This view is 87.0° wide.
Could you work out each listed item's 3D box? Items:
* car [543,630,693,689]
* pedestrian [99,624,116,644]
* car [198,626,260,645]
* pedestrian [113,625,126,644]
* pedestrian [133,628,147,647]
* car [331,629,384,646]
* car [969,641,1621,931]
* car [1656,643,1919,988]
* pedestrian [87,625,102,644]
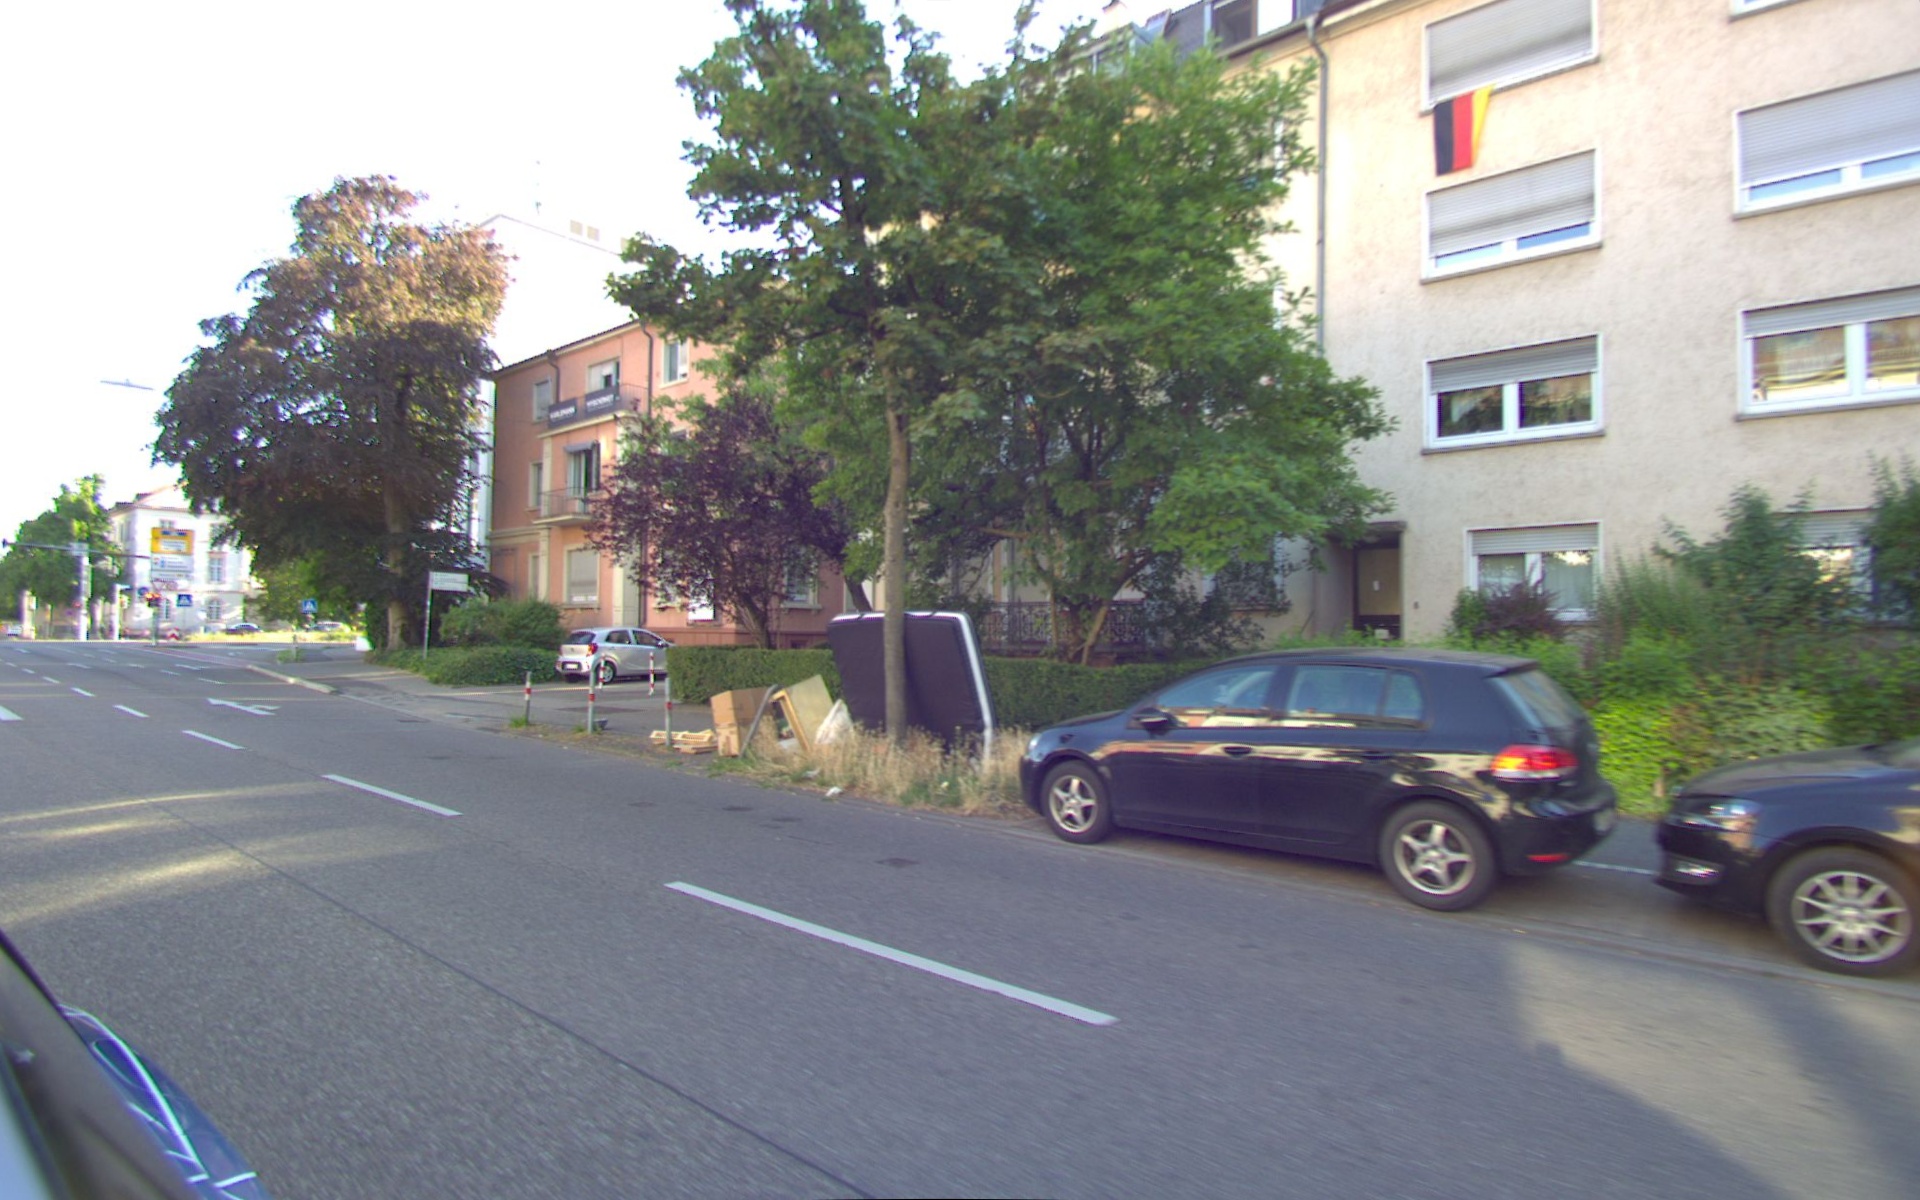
[{"bbox_3d":[-9.266,1.587,27.586,1.812,1.497,3.465,-2,-3,37],"label":"car"},{"bbox_3d":[-77.647,3.100,92.198,1.166,1.863,0.812,-1,-3,32],"label":"pedestrian"},{"bbox_3d":[-59.190,2.885,81.963,1.996,1.457,3.602,-2,-3,36],"label":"car"},{"bbox_3d":[-73.752,3.054,88.806,0.887,1.663,0.614,-1,-3,32],"label":"pedestrian"},{"bbox_3d":[-72.826,3.348,89.894,0.880,1.663,0.671,-1,-3,32],"label":"pedestrian"},{"bbox_3d":[-53.689,3.334,90.211,1.996,1.457,3.602,-2,-3,36],"label":"car"},{"bbox_3d":[2.208,1.064,7.400,4.194,1.514,1.732,-2,-3,41],"label":"car"},{"bbox_3d":[5.596,0.960,4.469,3.976,1.514,1.732,-2,-3,41],"label":"car"},{"bbox_3d":[-78.134,3.109,91.328,1.081,1.721,0.671,-1,-3,32],"label":"pedestrian"}]
